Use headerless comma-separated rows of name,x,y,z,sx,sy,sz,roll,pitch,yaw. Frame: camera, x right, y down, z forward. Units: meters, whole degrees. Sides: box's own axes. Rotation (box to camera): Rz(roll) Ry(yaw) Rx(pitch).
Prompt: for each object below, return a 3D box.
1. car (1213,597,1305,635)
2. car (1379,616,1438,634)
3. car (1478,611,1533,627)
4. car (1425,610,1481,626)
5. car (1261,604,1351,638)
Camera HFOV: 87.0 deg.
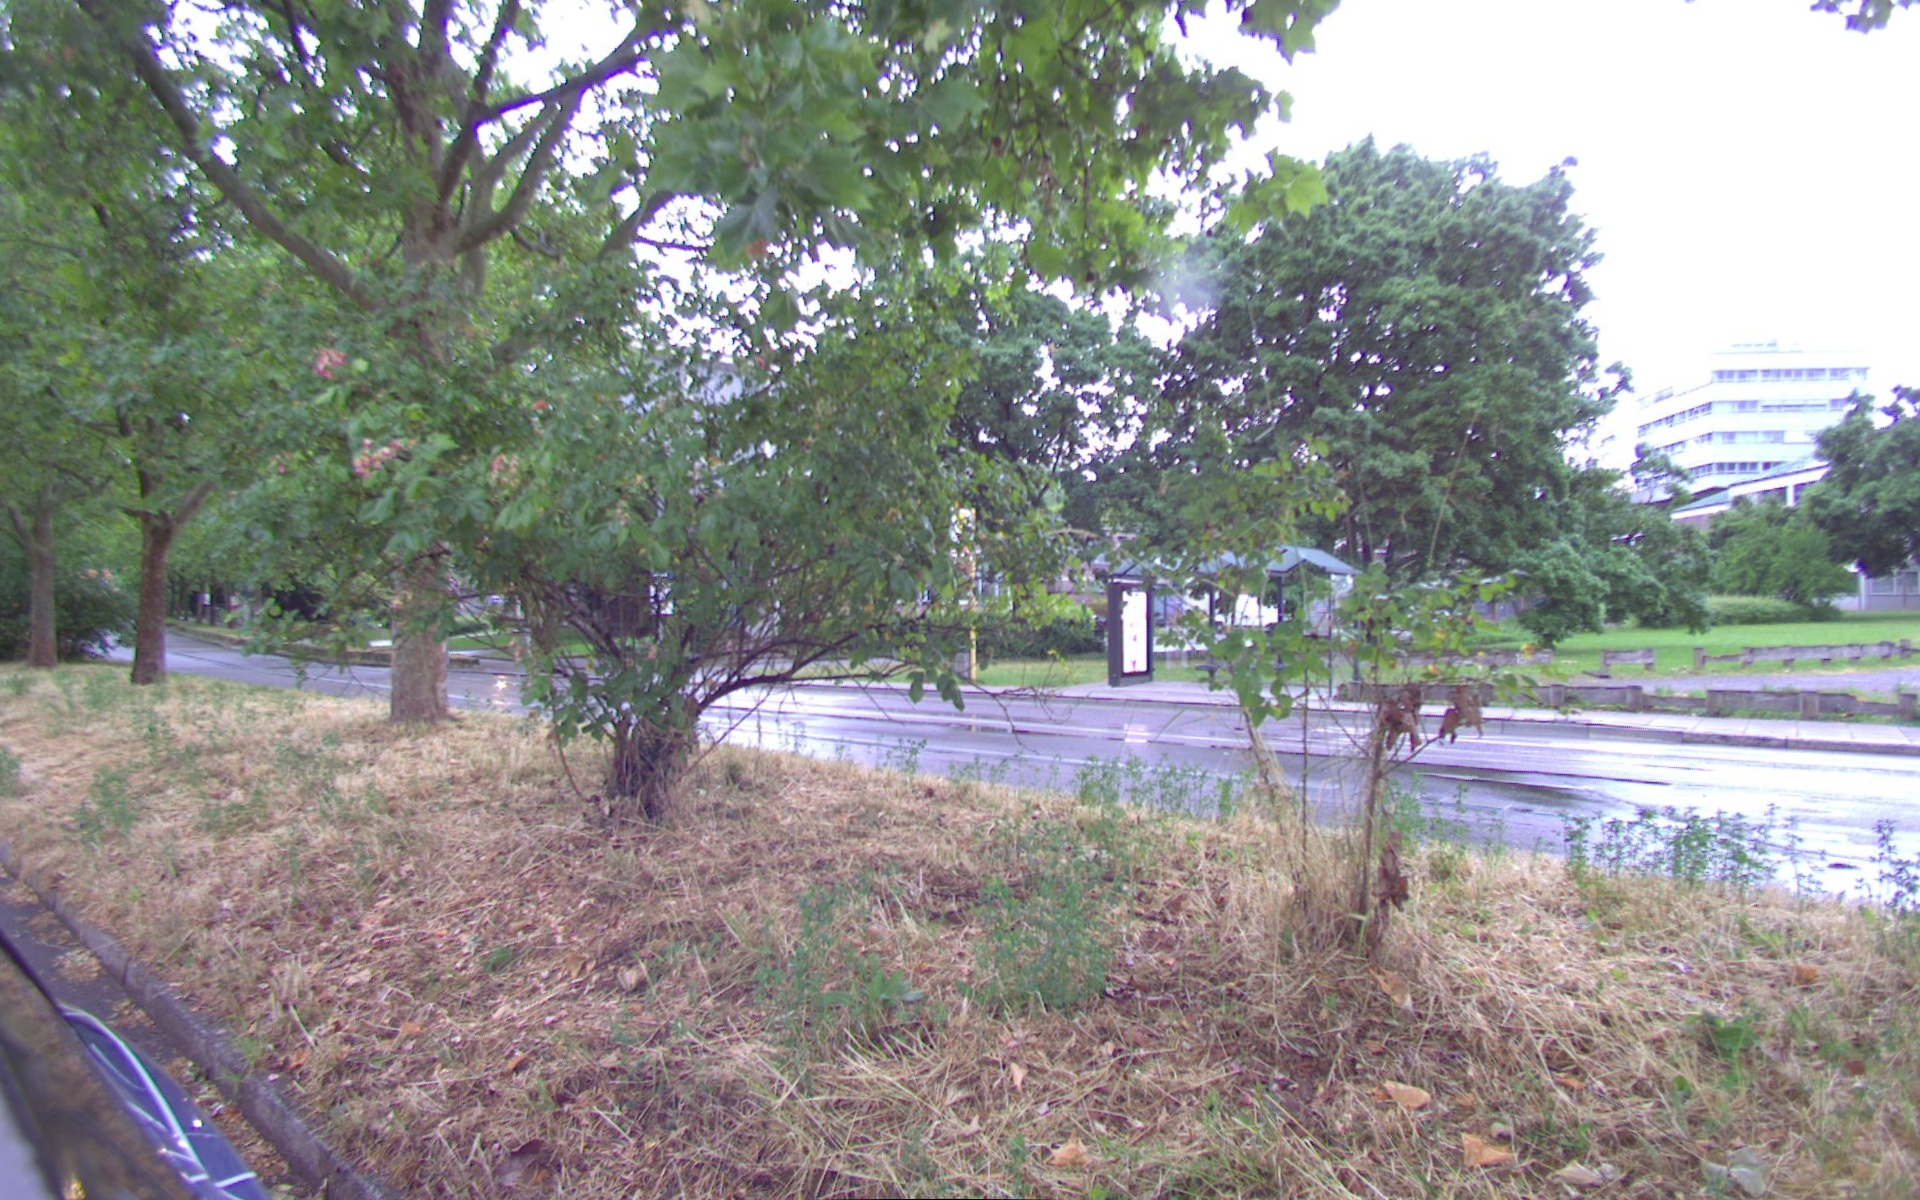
car,18.524,0.931,62.962,2.080,2.229,5.483,-1,1,-33
car,32.248,1.788,72.758,1.566,1.151,3.564,-1,1,-37
car,43.957,1.543,81.599,1.566,1.151,3.564,-1,1,-37
car,37.722,1.365,77.475,1.566,1.151,3.564,-1,1,-37
car,22.263,1.285,65.253,2.251,2.037,5.091,-1,1,-36
